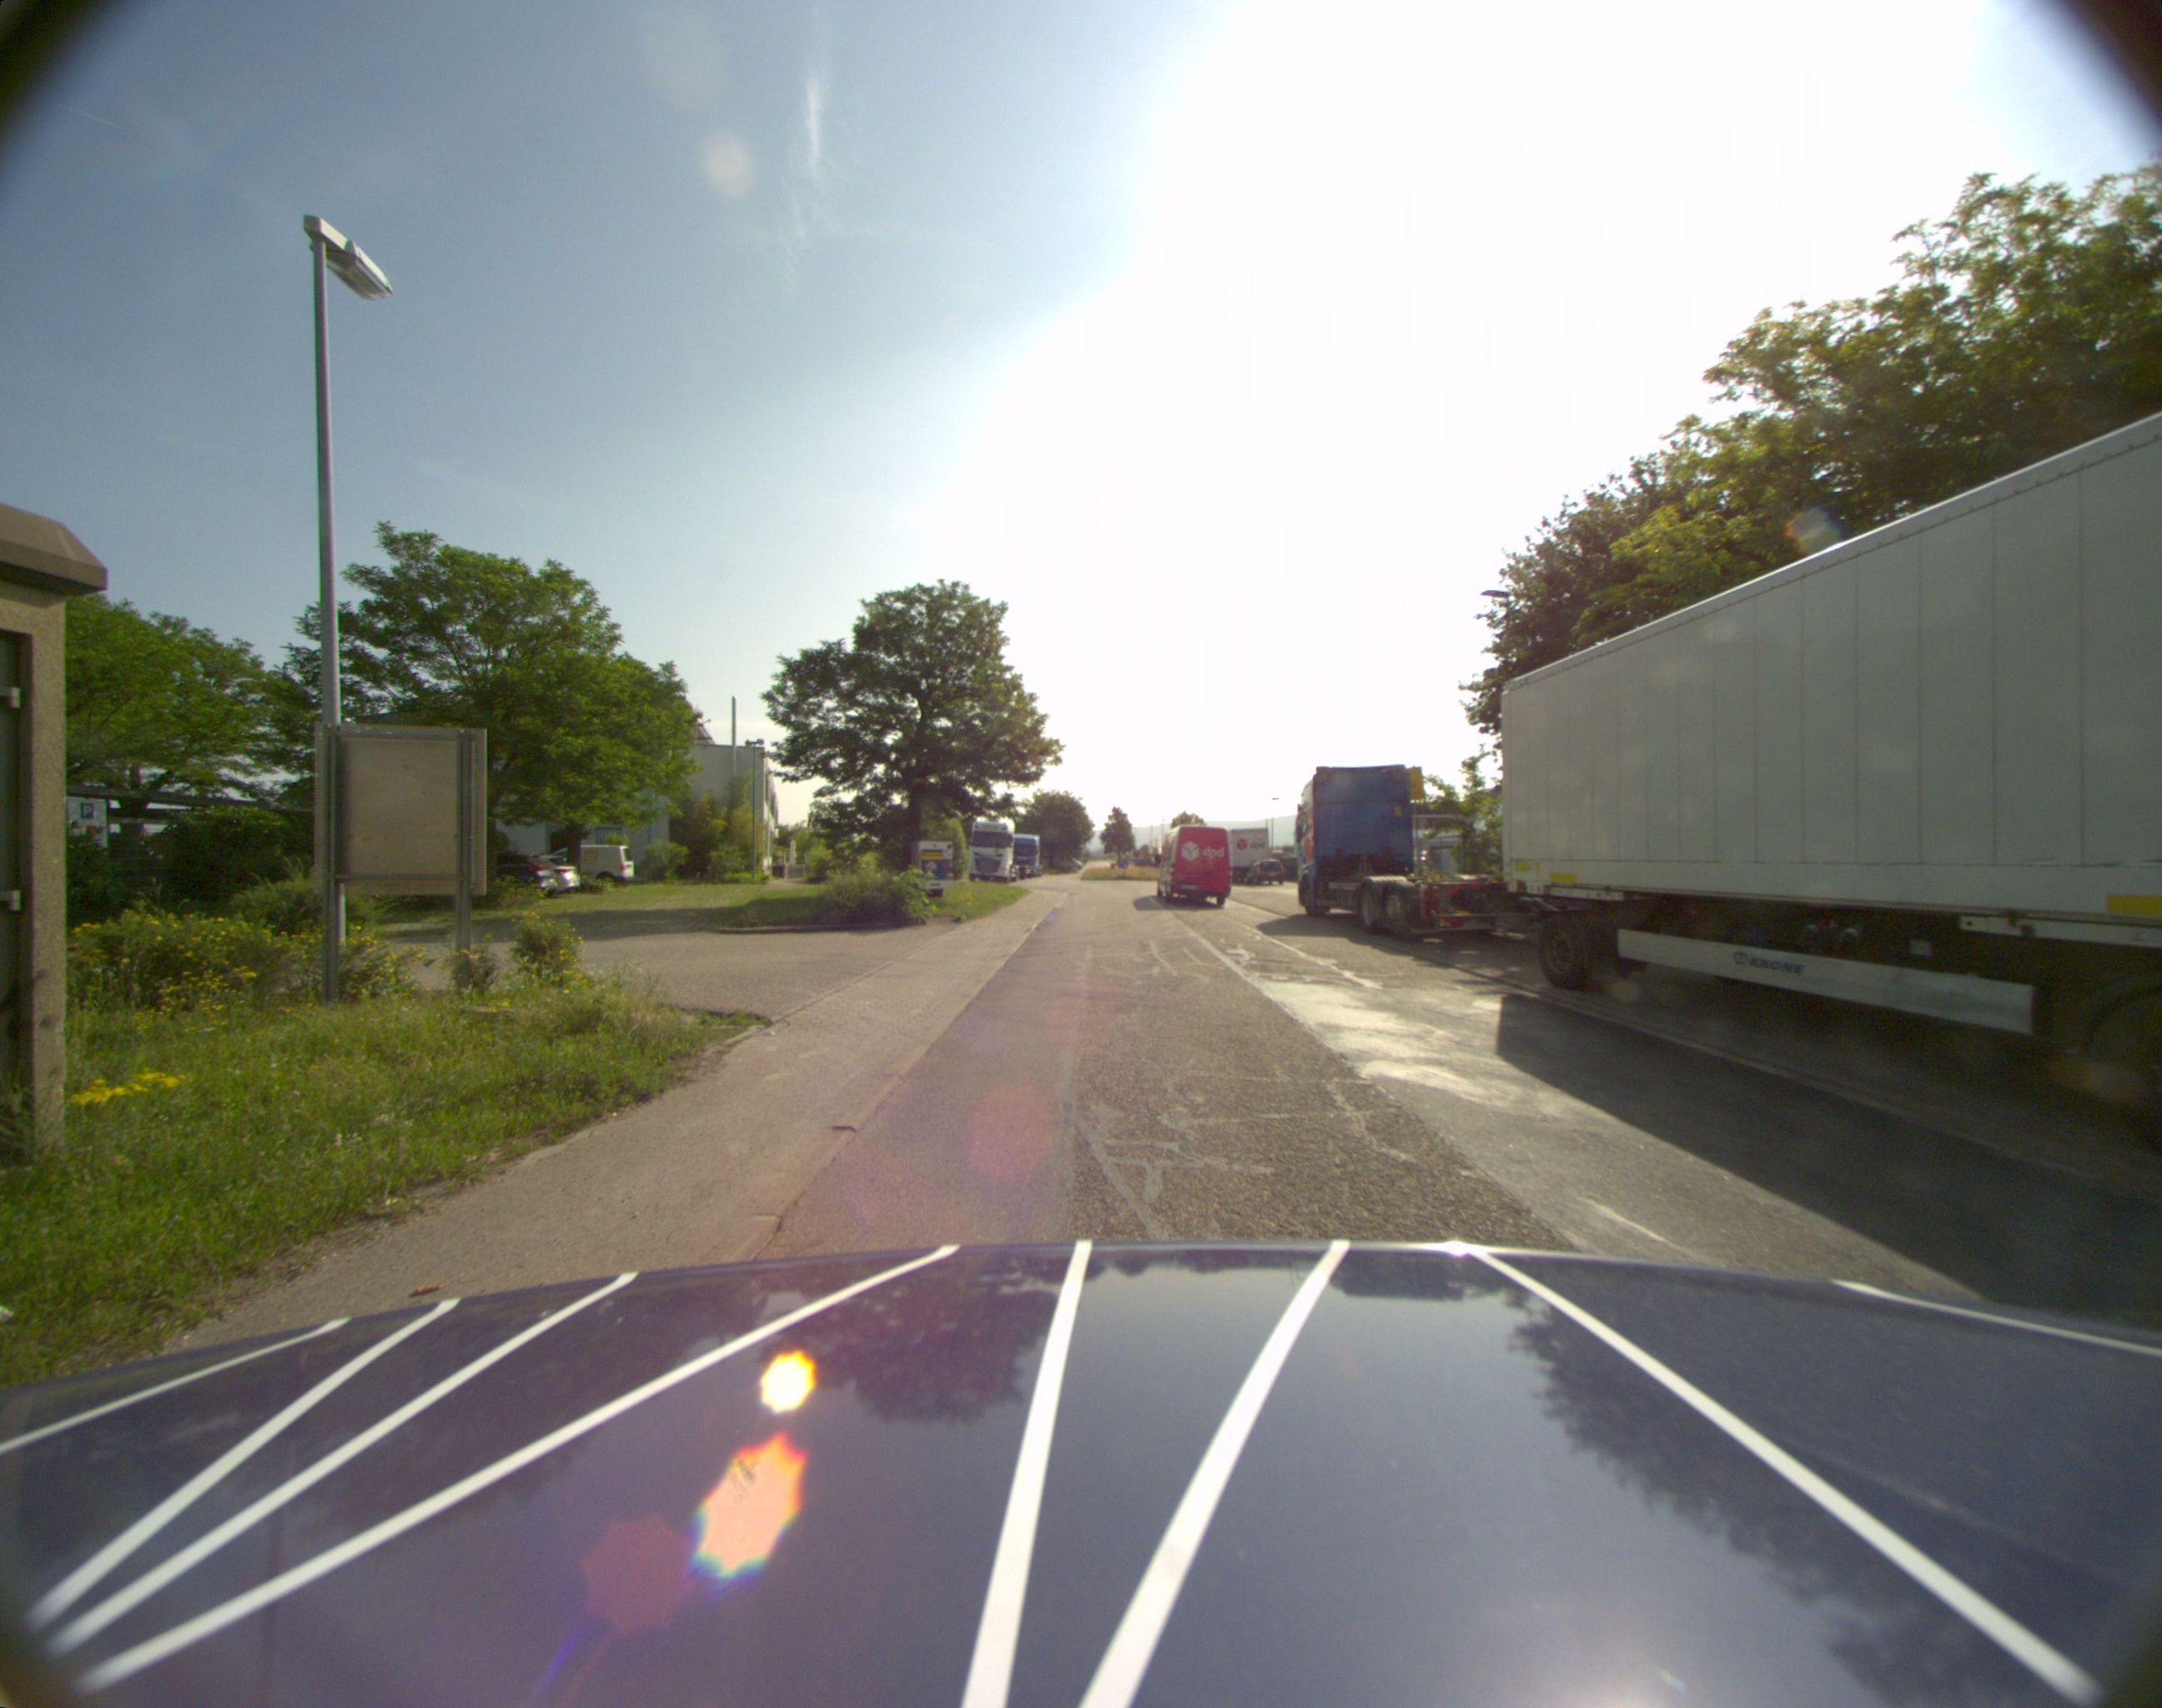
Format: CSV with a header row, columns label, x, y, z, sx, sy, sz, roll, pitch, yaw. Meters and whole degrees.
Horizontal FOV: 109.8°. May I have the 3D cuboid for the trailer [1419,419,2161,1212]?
label,x,y,z,sx,sy,sz,roll,pitch,yaw
trailer,6.659,-0.197,7.144,2.706,3.861,9.765,-1,0,1

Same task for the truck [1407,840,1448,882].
label,x,y,z,sx,sy,sz,roll,pitch,yaw
truck,36.174,0.685,79.601,2.784,4.021,12.373,1,0,20

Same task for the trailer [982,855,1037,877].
label,x,y,z,sx,sy,sz,roll,pitch,yaw
trailer,-5.227,0.841,57.966,2.553,1.383,14.137,1,0,1

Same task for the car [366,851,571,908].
label,x,y,z,sx,sy,sz,roll,pitch,yaw
car,-16.804,0.694,21.104,4.045,1.455,1.797,1,0,-19

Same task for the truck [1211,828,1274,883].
label,x,y,z,sx,sy,sz,roll,pitch,yaw
truck,12.137,0.094,58.084,2.783,3.831,10.063,1,0,1

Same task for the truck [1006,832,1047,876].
label,x,y,z,sx,sy,sz,roll,pitch,yaw
truck,-5.058,0.043,72.328,3.043,3.916,10.578,1,0,0

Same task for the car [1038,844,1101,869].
label,x,y,z,sx,sy,sz,roll,pitch,yaw
car,-1.570,0.333,101.322,8.150,3.217,2.663,-1,0,-4

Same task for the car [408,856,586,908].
label,x,y,z,sx,sy,sz,roll,pitch,yaw
car,-18.235,0.821,23.955,4.045,1.397,1.739,-2,2,-19

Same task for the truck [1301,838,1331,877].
label,x,y,z,sx,sy,sz,roll,pitch,yaw
truck,25.424,0.345,81.972,2.653,3.955,9.253,1,0,20

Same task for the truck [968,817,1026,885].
label,x,y,z,sx,sy,sz,roll,pitch,yaw
truck,-5.347,-0.195,50.061,2.559,3.958,8.582,3,0,1

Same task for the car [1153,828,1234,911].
label,x,y,z,sx,sy,sz,roll,pitch,yaw
car,3.863,0.497,27.264,1.998,2.532,6.990,1,0,2

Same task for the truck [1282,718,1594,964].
label,x,y,z,sx,sy,sz,roll,pitch,yaw
truck,6.926,-0.198,16.845,2.719,3.861,9.637,-1,0,2

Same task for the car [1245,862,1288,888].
label,x,y,z,sx,sy,sz,roll,pitch,yaw
car,12.027,1.328,49.455,1.767,1.582,4.193,-1,0,0

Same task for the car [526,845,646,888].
label,x,y,z,sx,sy,sz,roll,pitch,yaw
car,-20.756,0.527,32.019,3.916,1.740,1.750,0,0,-17
